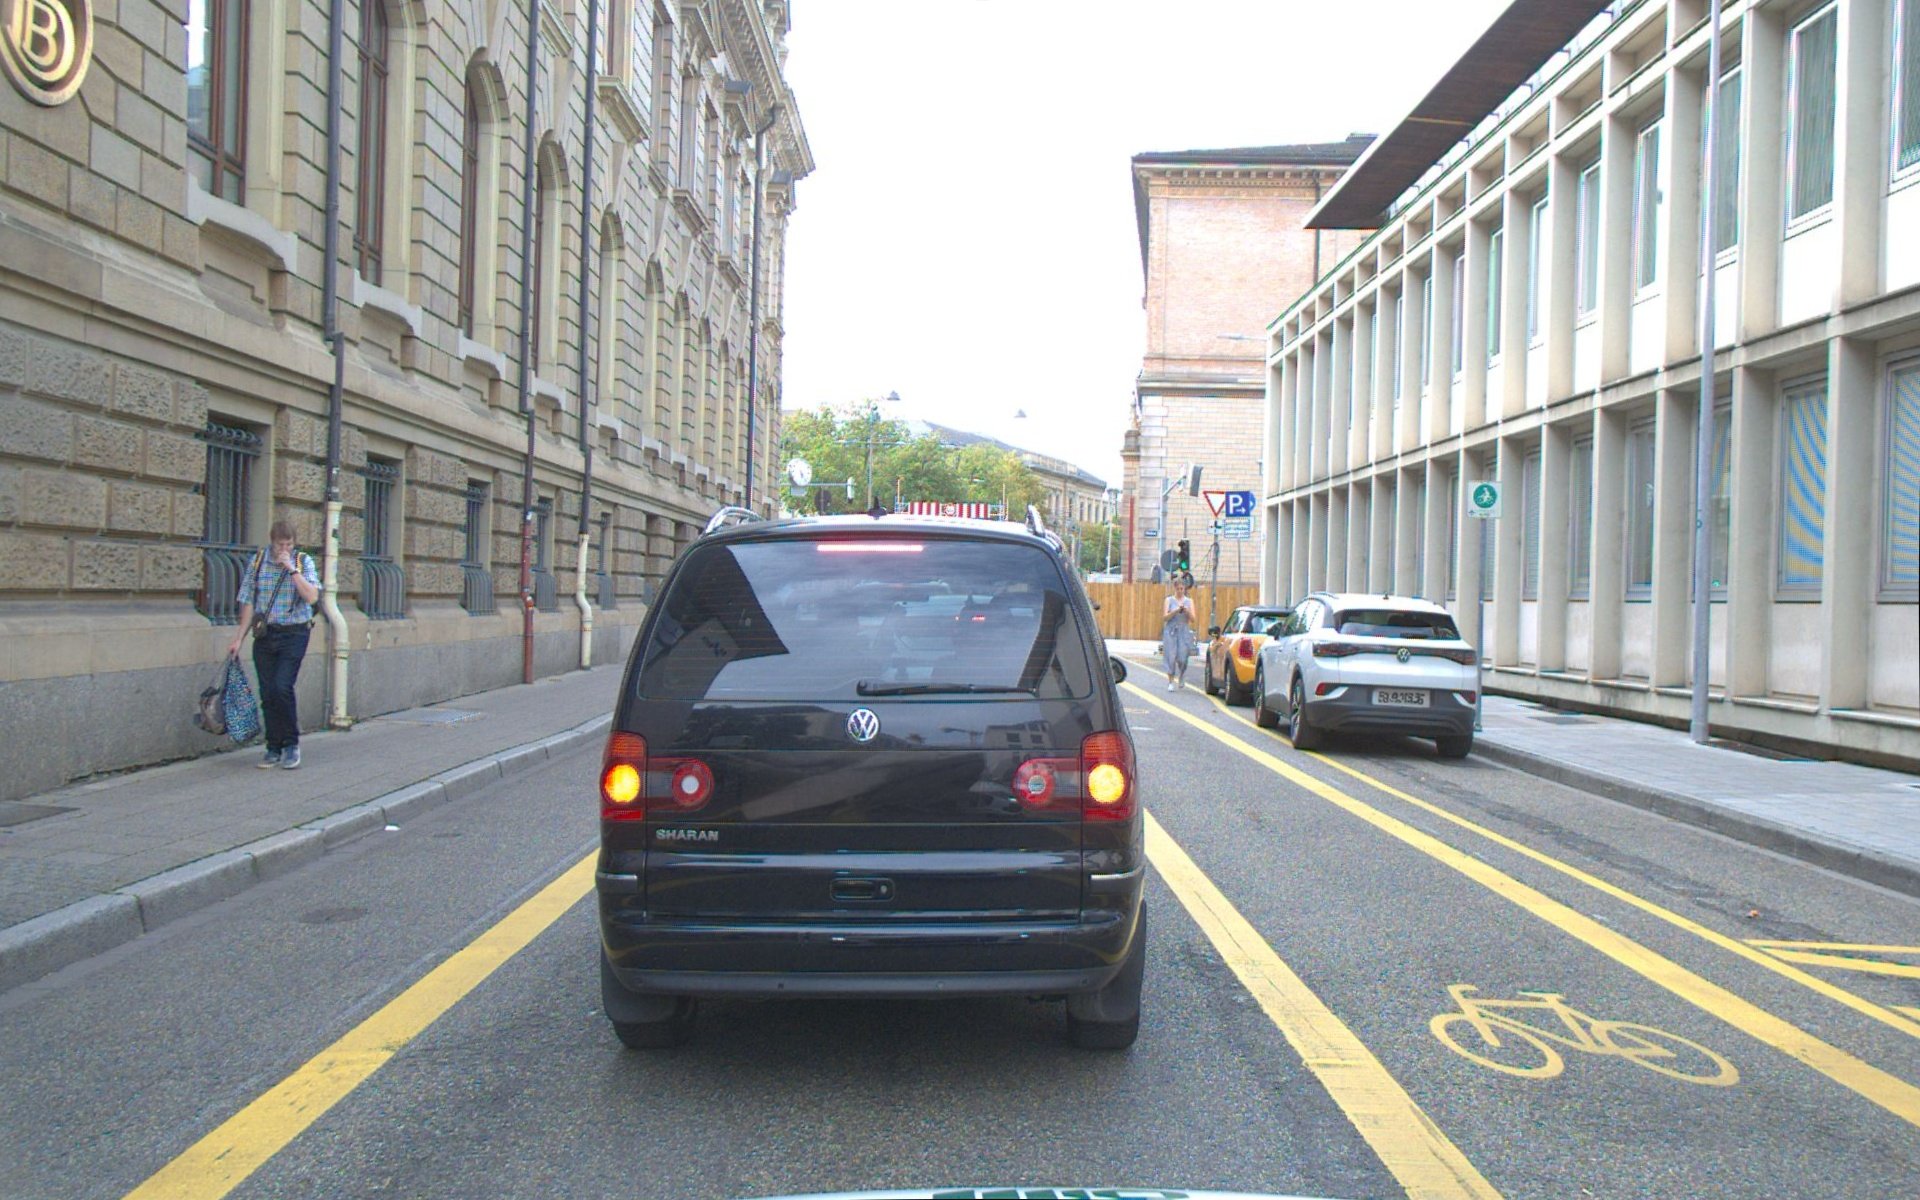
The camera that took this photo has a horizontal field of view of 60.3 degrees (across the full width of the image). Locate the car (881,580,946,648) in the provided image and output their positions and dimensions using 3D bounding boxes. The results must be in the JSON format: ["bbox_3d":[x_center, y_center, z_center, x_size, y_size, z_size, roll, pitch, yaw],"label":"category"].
[{"bbox_3d":[-1.369,0.377,47.247,1.700,1.821,4.100,2,0,-4],"label":"car"}]

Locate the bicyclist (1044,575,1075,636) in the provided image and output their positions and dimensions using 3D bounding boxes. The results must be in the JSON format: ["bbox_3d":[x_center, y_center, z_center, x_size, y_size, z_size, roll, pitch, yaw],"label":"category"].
[{"bbox_3d":[2.599,0.147,43.296,0.720,1.582,0.895,1,-1,-1],"label":"bicyclist"}]

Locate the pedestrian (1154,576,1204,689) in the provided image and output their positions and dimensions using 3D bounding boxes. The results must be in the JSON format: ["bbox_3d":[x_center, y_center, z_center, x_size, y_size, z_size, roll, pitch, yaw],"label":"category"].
[{"bbox_3d":[3.554,0.527,26.861,0.689,1.794,0.700,1,-1,-1],"label":"pedestrian"}]

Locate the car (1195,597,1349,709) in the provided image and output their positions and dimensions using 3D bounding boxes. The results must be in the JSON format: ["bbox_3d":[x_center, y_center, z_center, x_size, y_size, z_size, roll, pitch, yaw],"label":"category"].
[{"bbox_3d":[4.667,0.755,25.208,1.645,1.459,3.887,4,0,2],"label":"car"}]

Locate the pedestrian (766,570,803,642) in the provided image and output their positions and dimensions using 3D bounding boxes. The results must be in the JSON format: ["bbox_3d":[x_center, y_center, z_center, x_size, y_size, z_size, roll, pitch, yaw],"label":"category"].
[{"bbox_3d":[-4.636,0.163,43.725,0.776,1.851,1.048,3,-1,-1],"label":"pedestrian"}]

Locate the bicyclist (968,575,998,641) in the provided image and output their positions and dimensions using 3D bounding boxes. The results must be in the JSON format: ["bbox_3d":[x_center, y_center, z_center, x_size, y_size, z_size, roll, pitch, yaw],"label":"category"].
[{"bbox_3d":[0.580,0.210,41.736,0.720,1.640,0.695,1,-1,-1],"label":"bicyclist"}]

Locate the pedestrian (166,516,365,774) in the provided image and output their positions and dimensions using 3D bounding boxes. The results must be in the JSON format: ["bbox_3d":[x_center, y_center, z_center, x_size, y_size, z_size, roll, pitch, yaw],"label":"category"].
[{"bbox_3d":[-5.019,0.316,12.012,1.005,1.750,0.818,3,-1,-1],"label":"pedestrian"}]

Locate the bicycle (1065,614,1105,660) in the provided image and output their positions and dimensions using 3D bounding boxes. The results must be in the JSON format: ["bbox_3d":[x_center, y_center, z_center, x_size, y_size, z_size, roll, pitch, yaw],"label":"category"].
[{"bbox_3d":[2.878,0.839,38.182,0.720,1.026,2.068,1,0,-1],"label":"bicycle"}]

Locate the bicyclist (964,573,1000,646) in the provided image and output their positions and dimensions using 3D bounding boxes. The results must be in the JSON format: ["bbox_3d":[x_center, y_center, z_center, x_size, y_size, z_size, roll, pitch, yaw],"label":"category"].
[{"bbox_3d":[0.463,0.196,34.946,0.720,1.504,0.884,1,0,-1],"label":"bicyclist"}]

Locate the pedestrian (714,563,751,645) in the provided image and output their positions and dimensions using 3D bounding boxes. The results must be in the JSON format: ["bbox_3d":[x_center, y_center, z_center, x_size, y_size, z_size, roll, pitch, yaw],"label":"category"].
[{"bbox_3d":[-5.315,0.098,38.661,0.650,1.851,1.048,3,-1,-1],"label":"pedestrian"}]

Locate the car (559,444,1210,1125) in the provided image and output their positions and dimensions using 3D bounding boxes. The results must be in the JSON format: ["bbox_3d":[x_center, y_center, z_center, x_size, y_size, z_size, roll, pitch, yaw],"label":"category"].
[{"bbox_3d":[-0.138,0.510,6.609,1.752,1.821,4.104,1,0,2],"label":"car"}]

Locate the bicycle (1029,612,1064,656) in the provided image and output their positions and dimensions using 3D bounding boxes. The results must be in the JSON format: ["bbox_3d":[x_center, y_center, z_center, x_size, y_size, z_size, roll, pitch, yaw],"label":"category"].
[{"bbox_3d":[2.109,0.812,40.476,0.720,1.026,2.068,1,0,-1],"label":"bicycle"}]

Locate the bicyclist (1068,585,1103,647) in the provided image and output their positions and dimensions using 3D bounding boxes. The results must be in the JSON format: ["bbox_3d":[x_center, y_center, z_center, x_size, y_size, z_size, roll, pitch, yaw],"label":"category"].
[{"bbox_3d":[2.889,0.369,38.170,0.720,1.399,0.831,1,0,-1],"label":"bicyclist"}]

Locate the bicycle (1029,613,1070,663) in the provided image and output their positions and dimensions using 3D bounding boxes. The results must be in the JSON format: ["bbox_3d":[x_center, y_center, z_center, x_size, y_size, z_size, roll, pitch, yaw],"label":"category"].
[{"bbox_3d":[1.888,0.799,35.251,0.720,1.026,2.068,1,0,-1],"label":"bicycle"}]

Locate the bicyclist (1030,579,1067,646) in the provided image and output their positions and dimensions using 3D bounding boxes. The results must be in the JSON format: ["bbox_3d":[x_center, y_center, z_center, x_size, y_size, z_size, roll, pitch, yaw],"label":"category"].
[{"bbox_3d":[1.881,0.258,35.256,0.720,1.401,0.828,1,0,-1],"label":"bicyclist"}]

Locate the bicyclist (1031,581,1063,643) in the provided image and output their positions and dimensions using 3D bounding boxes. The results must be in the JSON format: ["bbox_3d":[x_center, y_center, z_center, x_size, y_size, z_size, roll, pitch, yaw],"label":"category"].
[{"bbox_3d":[2.125,0.297,40.497,0.720,1.495,0.808,1,-1,-1],"label":"bicyclist"}]

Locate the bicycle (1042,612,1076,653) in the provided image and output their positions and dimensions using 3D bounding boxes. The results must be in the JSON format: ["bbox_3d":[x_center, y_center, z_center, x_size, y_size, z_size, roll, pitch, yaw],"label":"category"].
[{"bbox_3d":[2.587,0.825,43.193,0.720,1.026,2.068,1,0,-1],"label":"bicycle"}]

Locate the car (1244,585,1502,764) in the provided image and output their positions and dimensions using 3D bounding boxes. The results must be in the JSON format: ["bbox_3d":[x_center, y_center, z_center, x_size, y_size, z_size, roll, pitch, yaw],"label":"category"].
[{"bbox_3d":[4.461,0.739,18.582,1.822,1.633,4.513,4,0,2],"label":"car"}]

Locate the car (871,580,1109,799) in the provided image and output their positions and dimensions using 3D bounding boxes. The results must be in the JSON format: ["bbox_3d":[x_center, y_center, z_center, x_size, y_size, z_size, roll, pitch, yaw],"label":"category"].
[{"bbox_3d":[0.282,0.637,13.724,1.643,1.495,4.104,1,0,2],"label":"car"}]

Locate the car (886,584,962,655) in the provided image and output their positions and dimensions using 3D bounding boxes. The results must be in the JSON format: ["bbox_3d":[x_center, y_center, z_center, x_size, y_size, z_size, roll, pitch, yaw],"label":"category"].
[{"bbox_3d":[-0.867,0.454,40.250,1.737,1.613,3.999,1,0,-1],"label":"car"}]

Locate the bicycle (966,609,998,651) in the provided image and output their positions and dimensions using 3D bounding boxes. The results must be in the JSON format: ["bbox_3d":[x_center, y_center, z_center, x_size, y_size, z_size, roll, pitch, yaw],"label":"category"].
[{"bbox_3d":[0.550,0.747,41.797,0.720,1.026,2.068,1,0,-1],"label":"bicycle"}]
